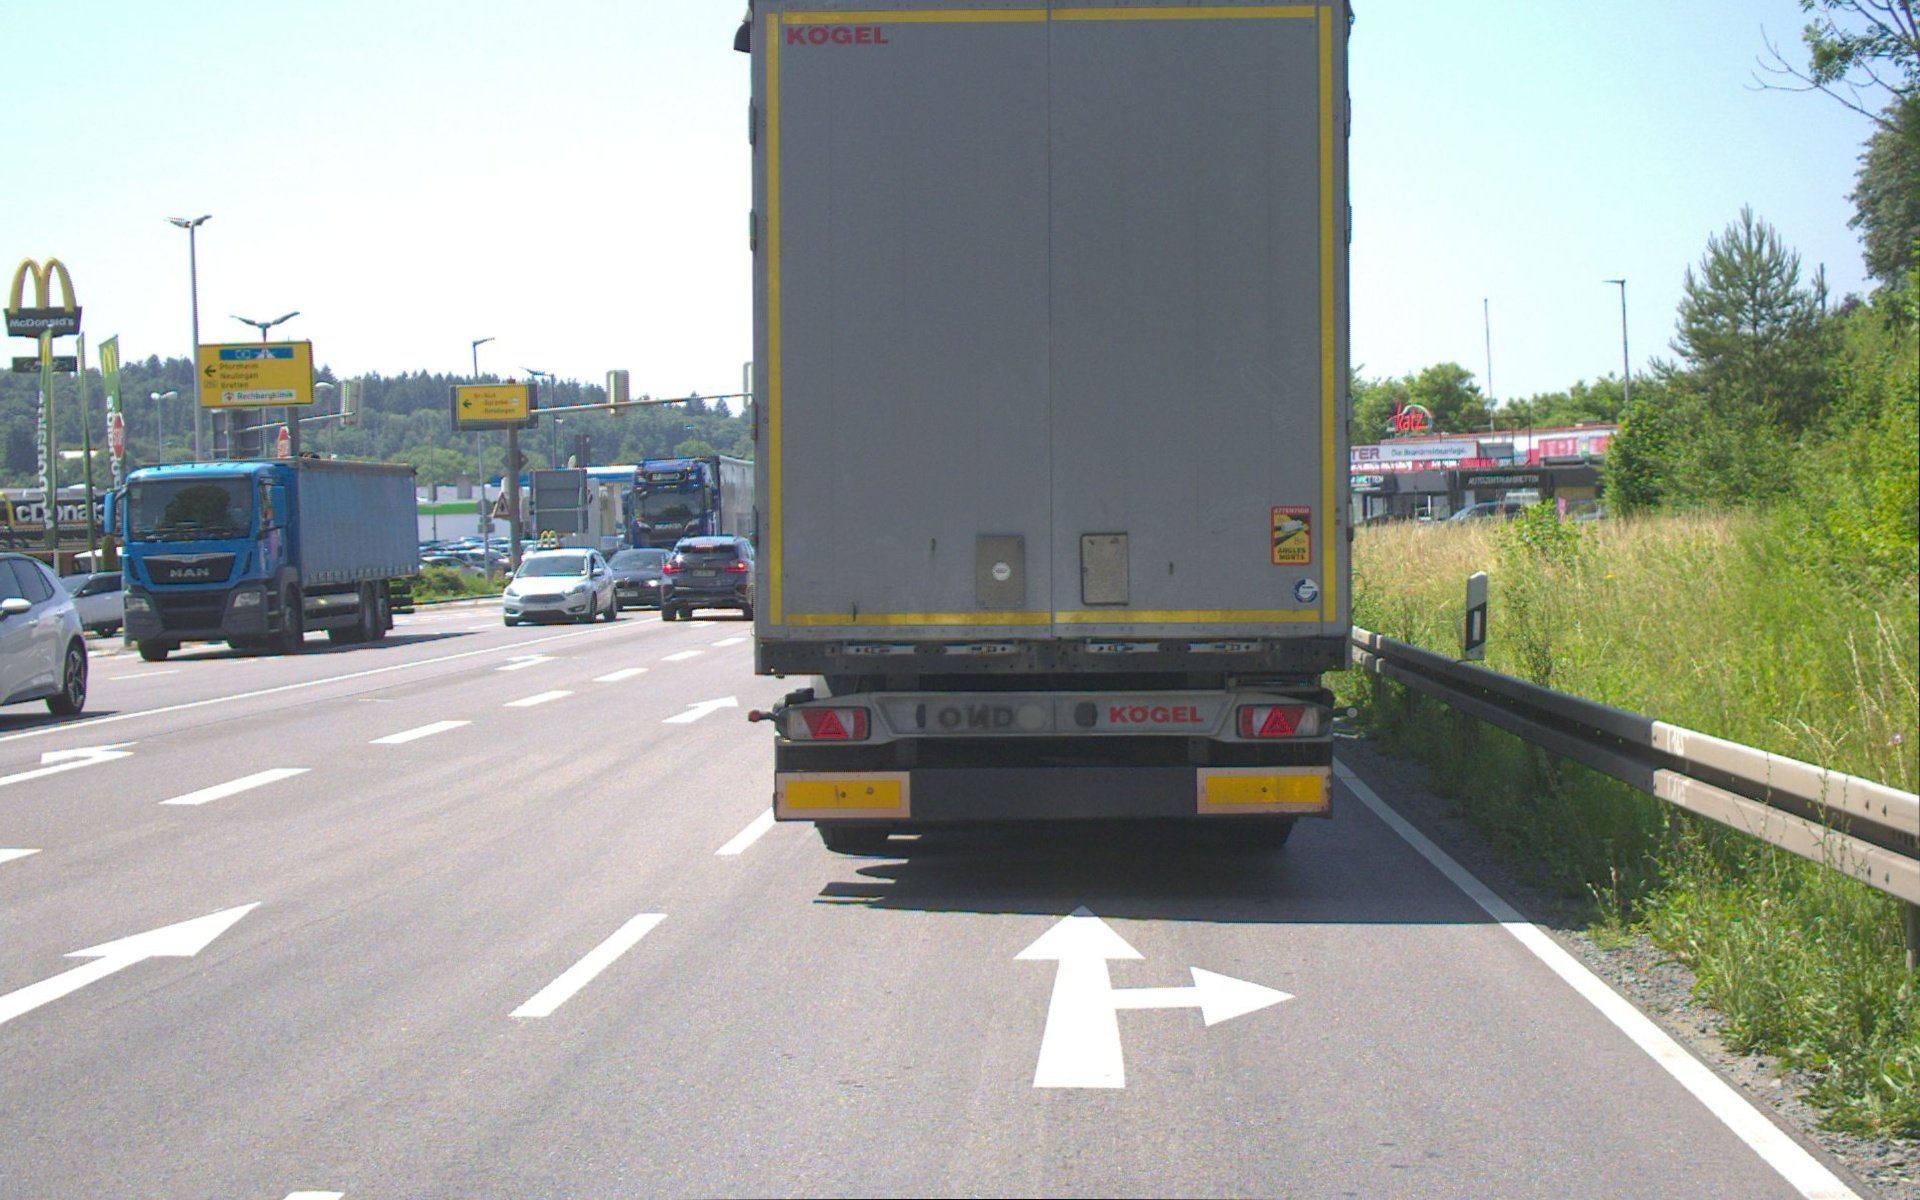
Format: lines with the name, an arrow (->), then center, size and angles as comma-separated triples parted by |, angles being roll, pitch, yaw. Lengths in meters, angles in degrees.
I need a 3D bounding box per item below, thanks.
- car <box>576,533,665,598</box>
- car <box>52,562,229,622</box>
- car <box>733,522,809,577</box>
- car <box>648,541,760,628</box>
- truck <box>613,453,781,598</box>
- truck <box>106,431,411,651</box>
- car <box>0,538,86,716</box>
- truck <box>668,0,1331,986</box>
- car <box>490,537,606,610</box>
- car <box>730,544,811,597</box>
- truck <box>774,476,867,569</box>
car -> -7.813, -0.781, 79.351 | 1.662, 1.399, 4.016 | 0, -1, 0
car -> -20.573, -0.203, 86.390 | 1.788, 1.475, 4.003 | 0, 0, 43
car -> -5.620, -1.495, 102.617 | 1.740, 1.498, 4.406 | -3, 0, 3
car -> -5.008, -0.336, 67.699 | 1.793, 1.621, 4.369 | -1, 1, 1
truck -> -8.413, -2.401, 112.828 | 3.146, 4.334, 17.541 | -1, 1, 3
truck -> -11.763, -0.979, 58.894 | 2.846, 3.340, 11.482 | -1, 1, 0
car -> -9.280, 0.254, 30.905 | 1.792, 1.517, 4.187 | -2, 2, -1
truck -> 0.361, -0.715, 22.666 | 2.756, 4.623, 16.654 | 0, 0, 1
car -> -8.246, -0.559, 69.149 | 1.789, 1.422, 4.263 | 0, 1, 0
car -> -5.649, -0.897, 102.982 | 1.810, 1.503, 4.946 | -1, 1, 4
truck -> -6.166, -3.427, 154.648 | 2.934, 3.936, 14.237 | -1, 1, 2
